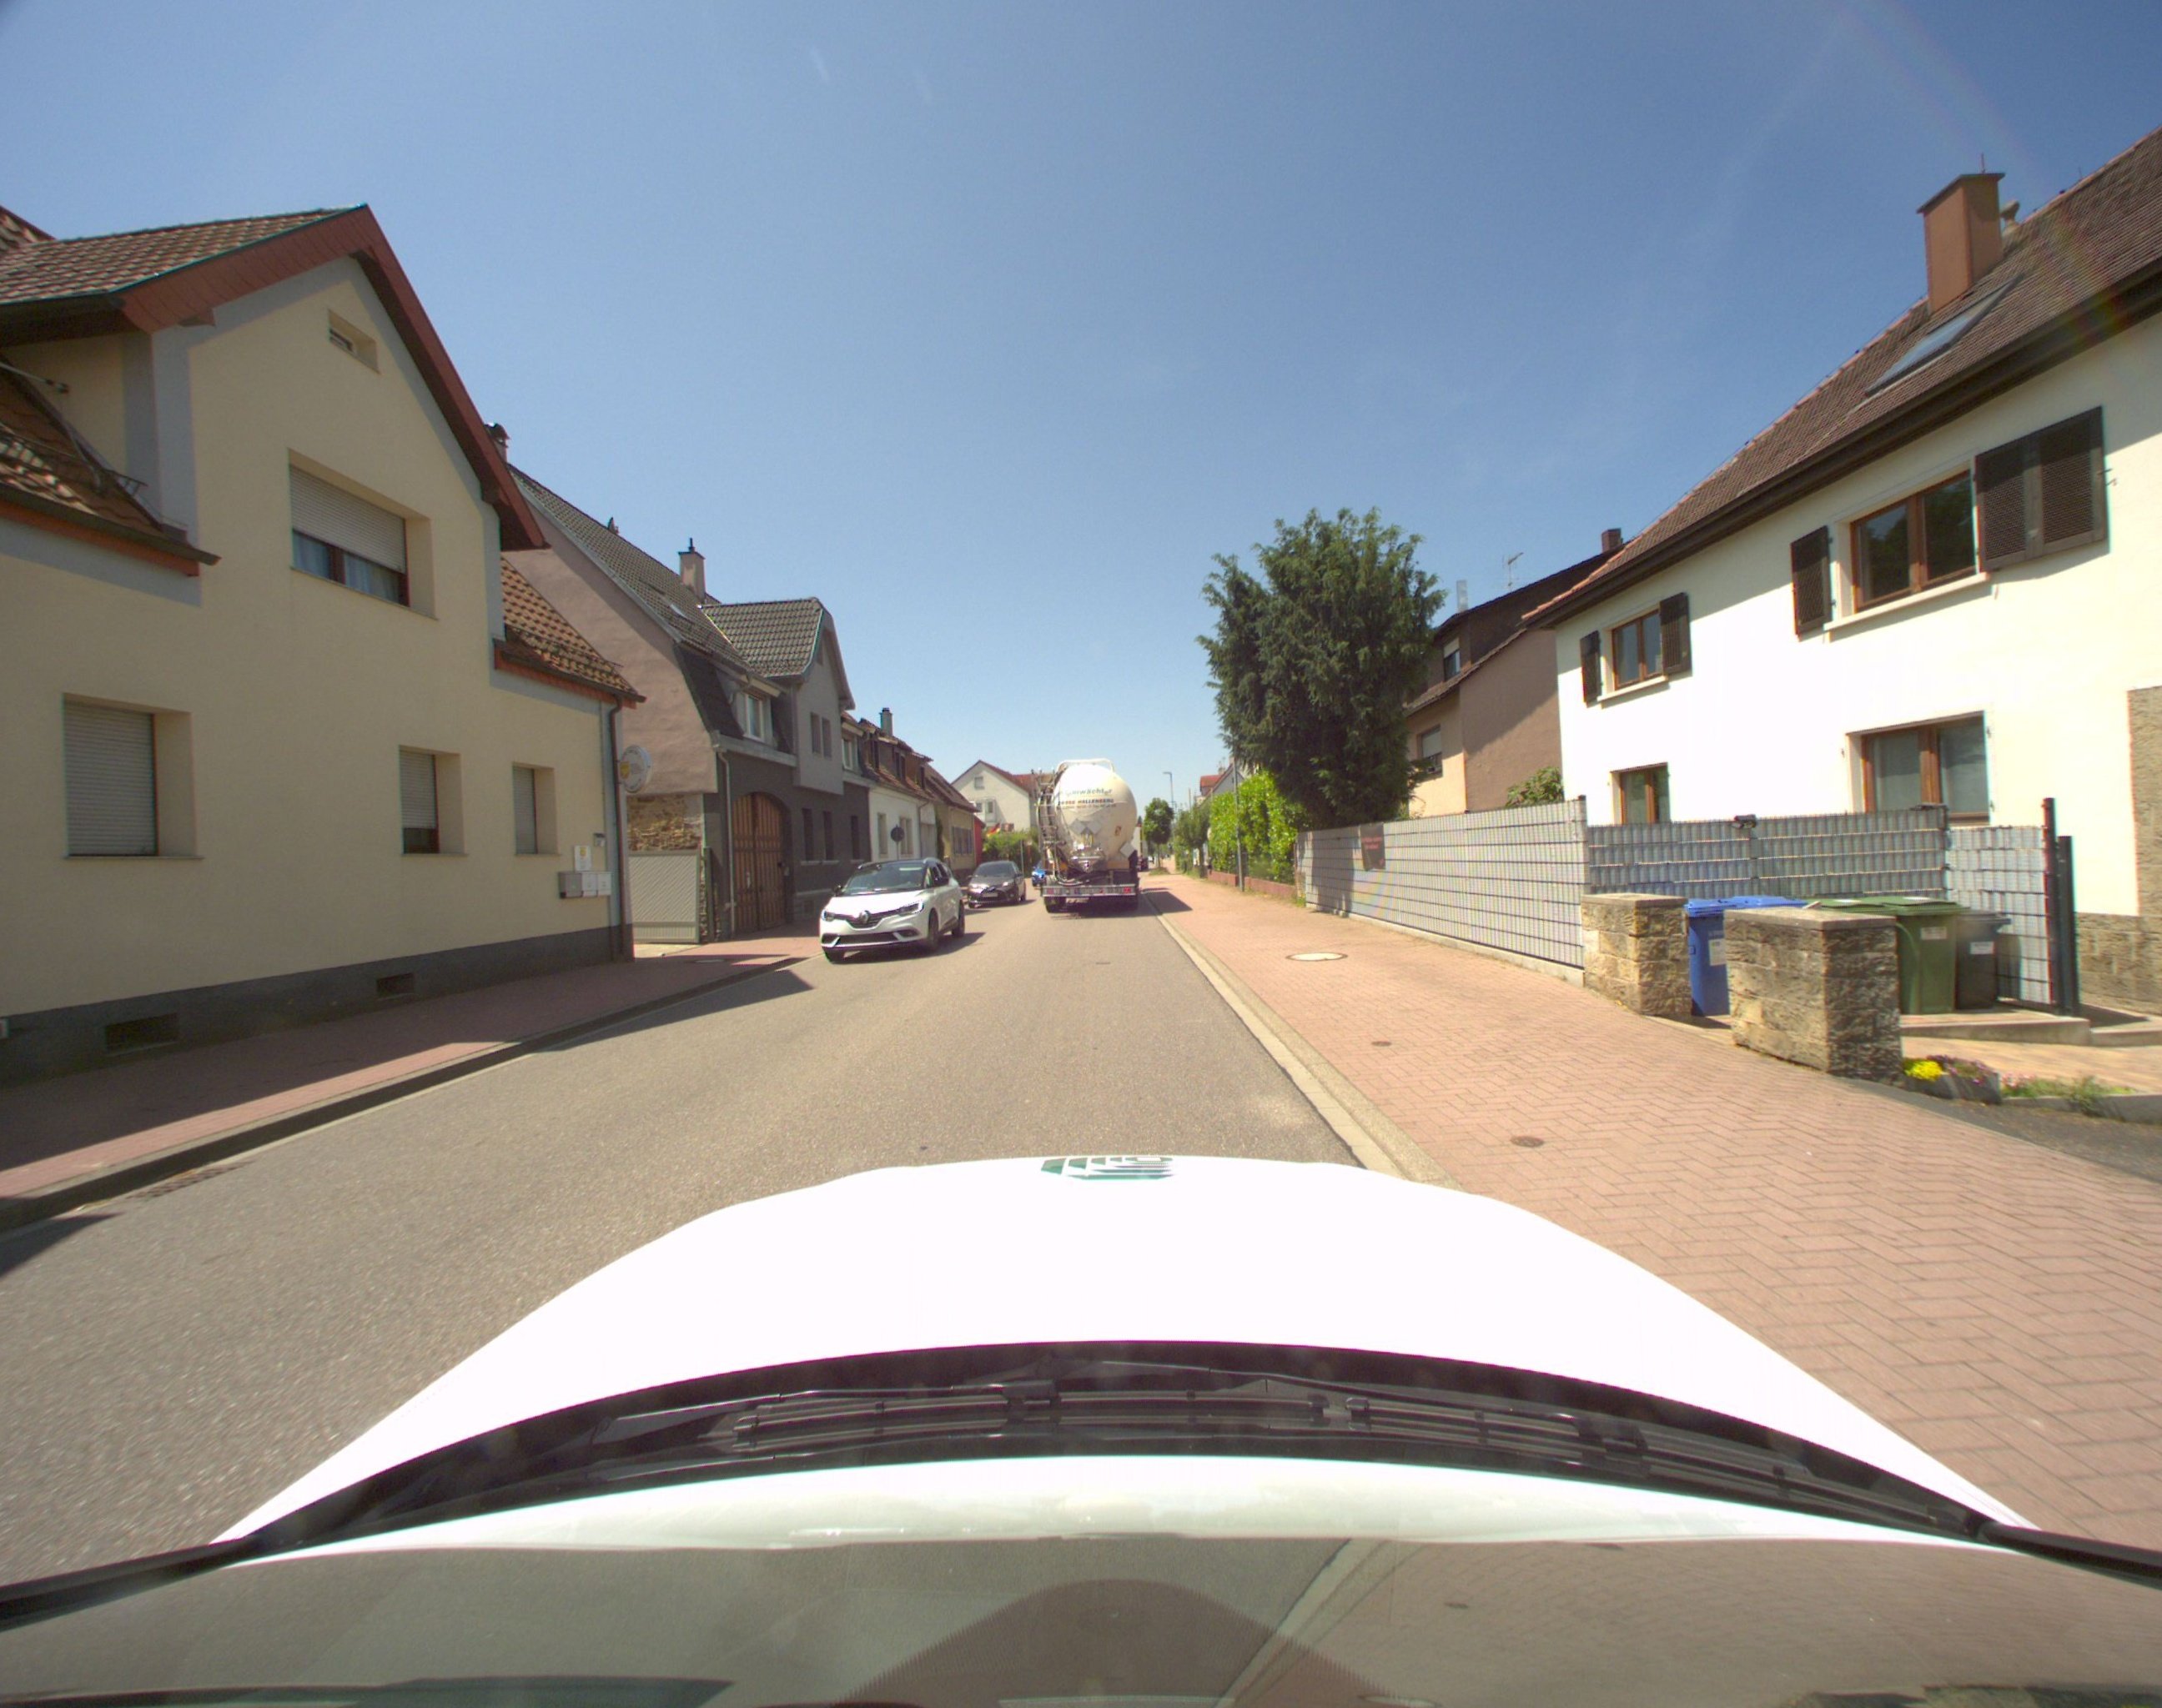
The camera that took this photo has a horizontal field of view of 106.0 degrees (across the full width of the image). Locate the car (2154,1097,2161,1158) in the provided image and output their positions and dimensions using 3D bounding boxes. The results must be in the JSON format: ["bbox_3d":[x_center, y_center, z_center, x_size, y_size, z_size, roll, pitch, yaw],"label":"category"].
[{"bbox_3d":[7.216,0.957,3.063,3.943,1.550,1.638,7,1,2],"label":"car"}]

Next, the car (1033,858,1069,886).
[{"bbox_3d":[-1.665,0.979,46.085,1.639,1.454,4.403,-2,0,2],"label":"car"}]

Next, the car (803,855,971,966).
[{"bbox_3d":[-3.345,0.900,15.004,1.867,1.603,4.431,-4,0,1],"label":"car"}]

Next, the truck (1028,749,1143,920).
[{"bbox_3d":[0.256,-0.487,24.339,2.631,4.015,9.565,-2,0,2],"label":"truck"}]

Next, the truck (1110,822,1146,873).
[{"bbox_3d":[4.423,-0.564,73.987,2.628,4.224,12.112,-2,0,6],"label":"truck"}]

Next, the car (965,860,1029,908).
[{"bbox_3d":[-2.873,0.994,28.614,1.670,1.459,3.930,-4,0,1],"label":"car"}]

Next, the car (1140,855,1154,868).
[{"bbox_3d":[9.730,1.082,119.675,1.864,1.556,4.636,-4,2,6],"label":"car"}]
